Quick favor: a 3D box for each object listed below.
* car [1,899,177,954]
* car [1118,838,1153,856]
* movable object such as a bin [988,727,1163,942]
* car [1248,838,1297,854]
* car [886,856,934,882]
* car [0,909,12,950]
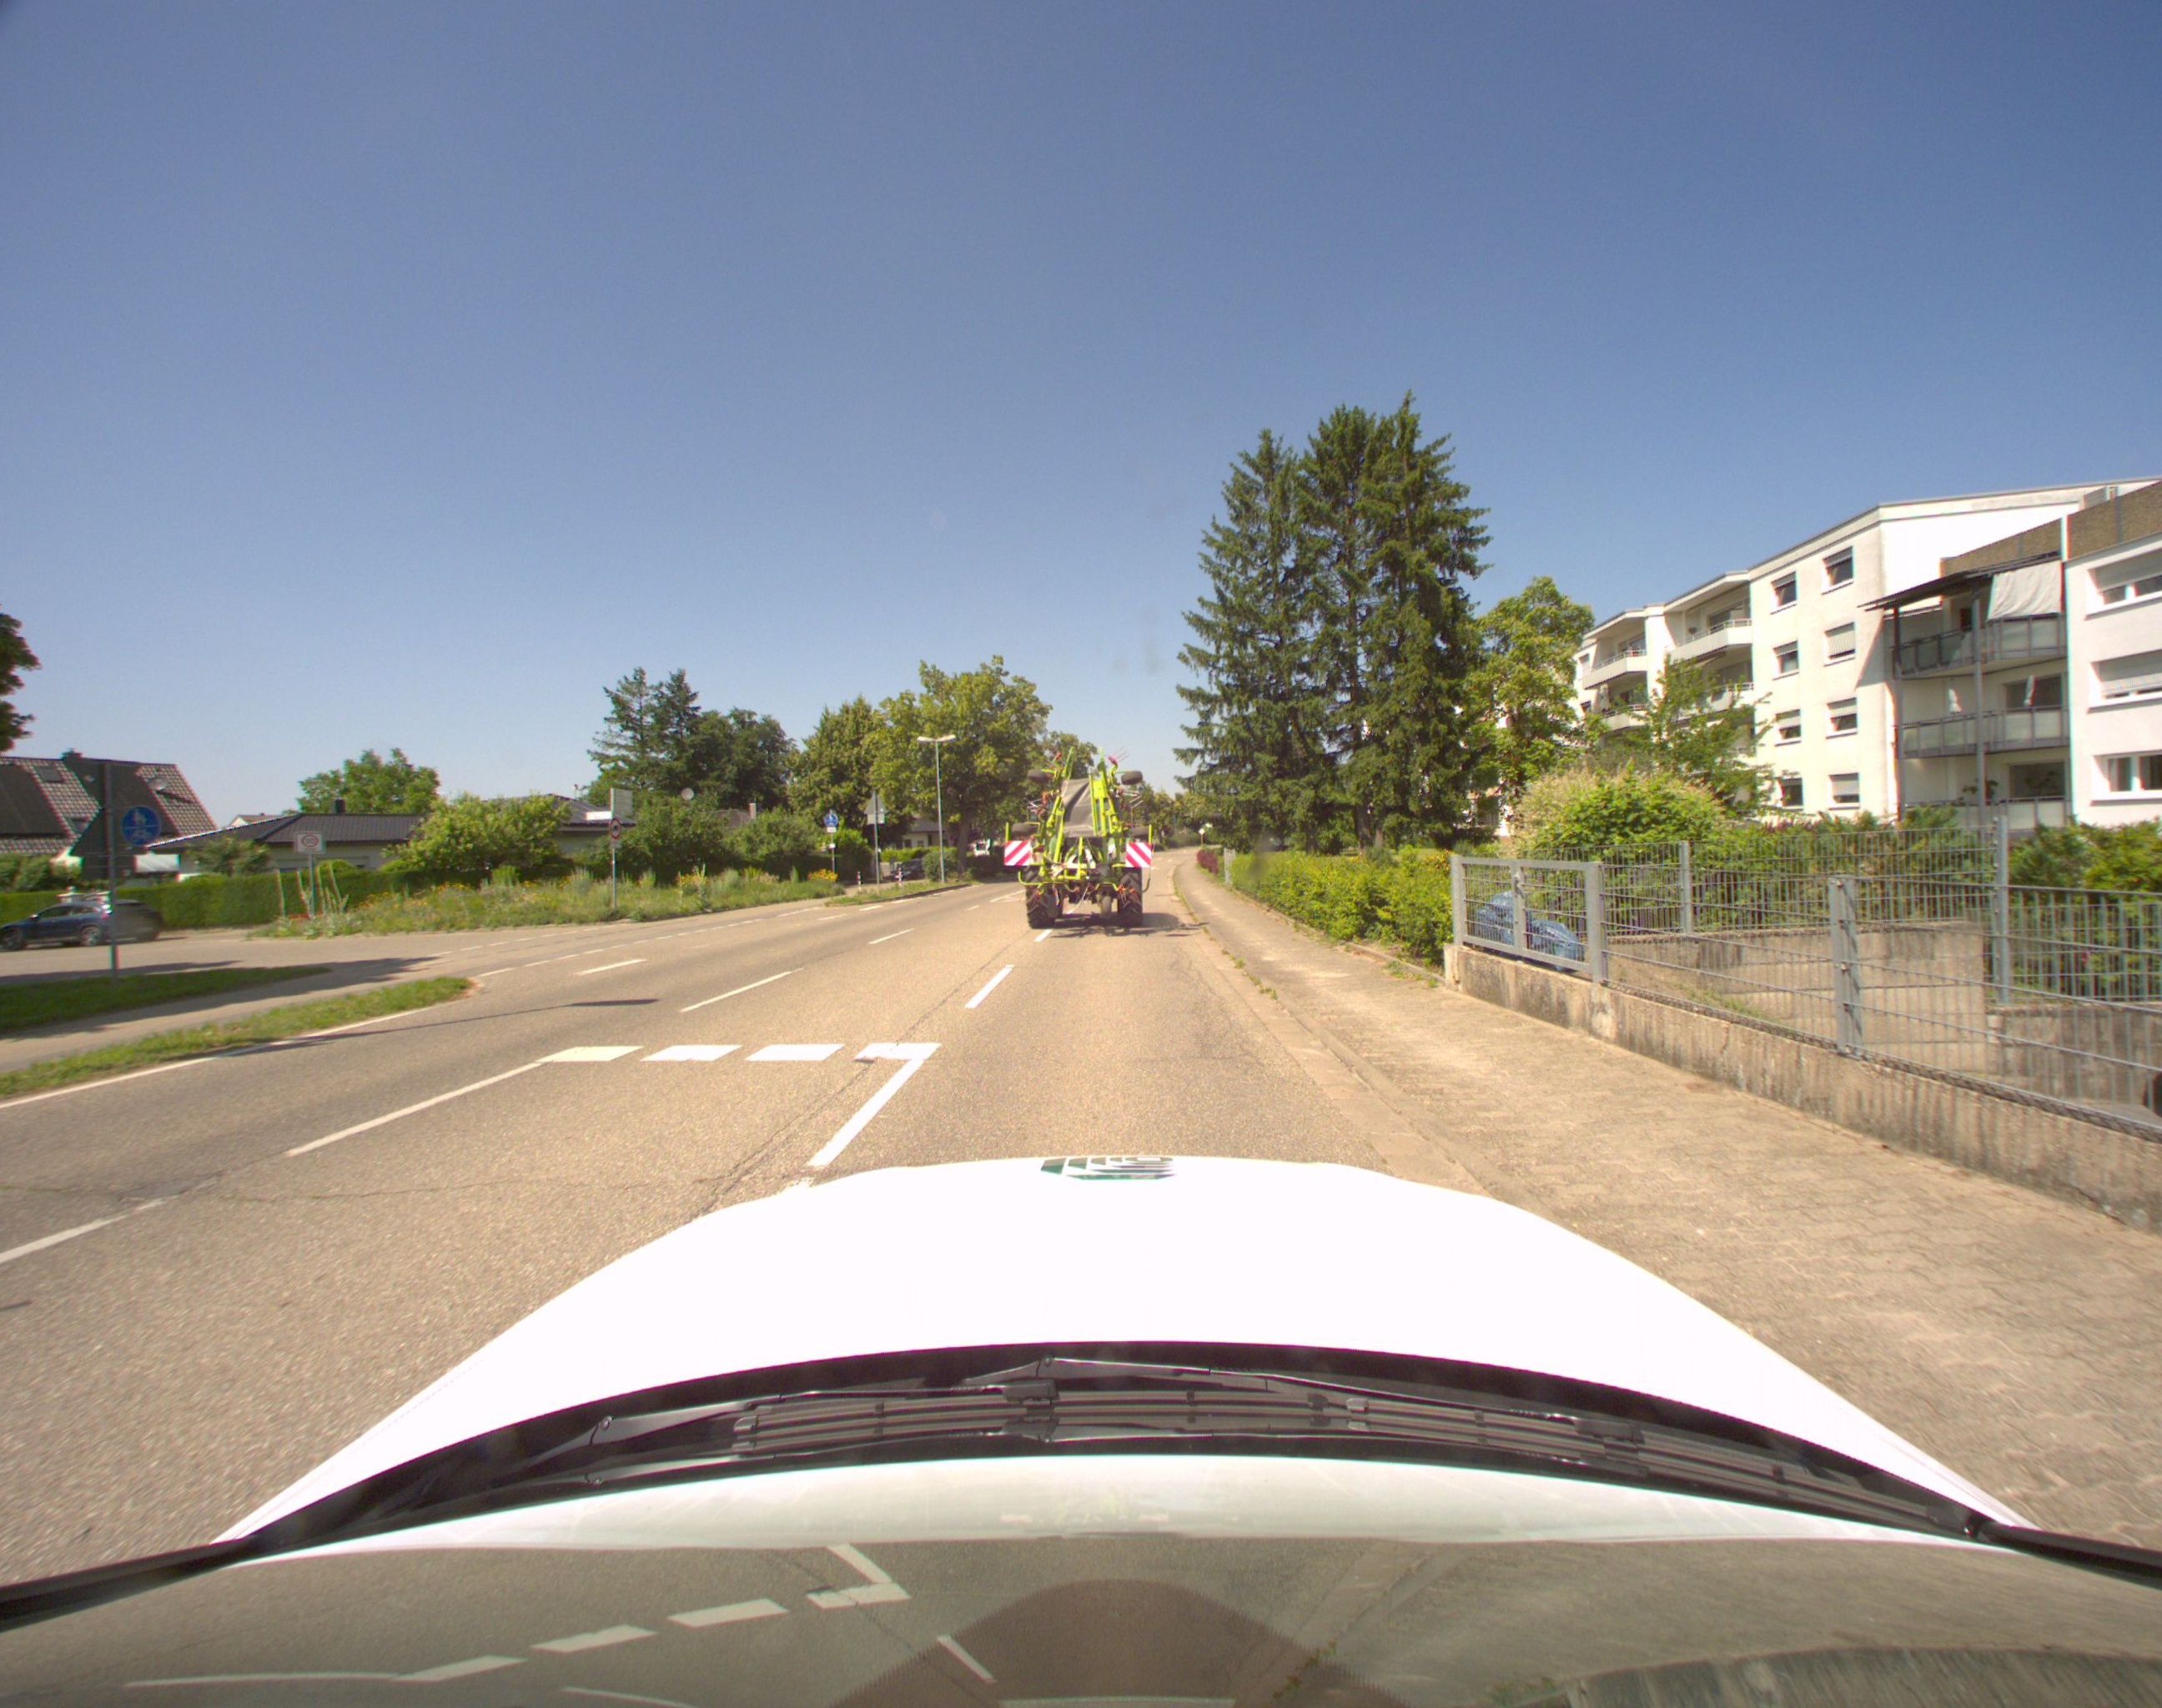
[{"bbox_3d":[-35.936,2.610,29.583,3.973,1.518,1.882,-4,2,0],"label":"car"},{"bbox_3d":[5.610,-0.707,83.134,1.839,1.715,4.025,-2,0,31],"label":"car"},{"bbox_3d":[0.129,-0.345,18.655,2.841,3.541,9.707,-2,0,3],"label":"movable object such as a bin"},{"bbox_3d":[16.993,-0.682,72.331,3.810,1.294,1.679,-2,0,-9],"label":"car"},{"bbox_3d":[-11.251,0.974,53.843,1.678,1.530,4.010,-2,0,9],"label":"car"},{"bbox_3d":[-42.131,2.947,29.524,3.975,1.519,2.000,-4,0,-1],"label":"car"}]
